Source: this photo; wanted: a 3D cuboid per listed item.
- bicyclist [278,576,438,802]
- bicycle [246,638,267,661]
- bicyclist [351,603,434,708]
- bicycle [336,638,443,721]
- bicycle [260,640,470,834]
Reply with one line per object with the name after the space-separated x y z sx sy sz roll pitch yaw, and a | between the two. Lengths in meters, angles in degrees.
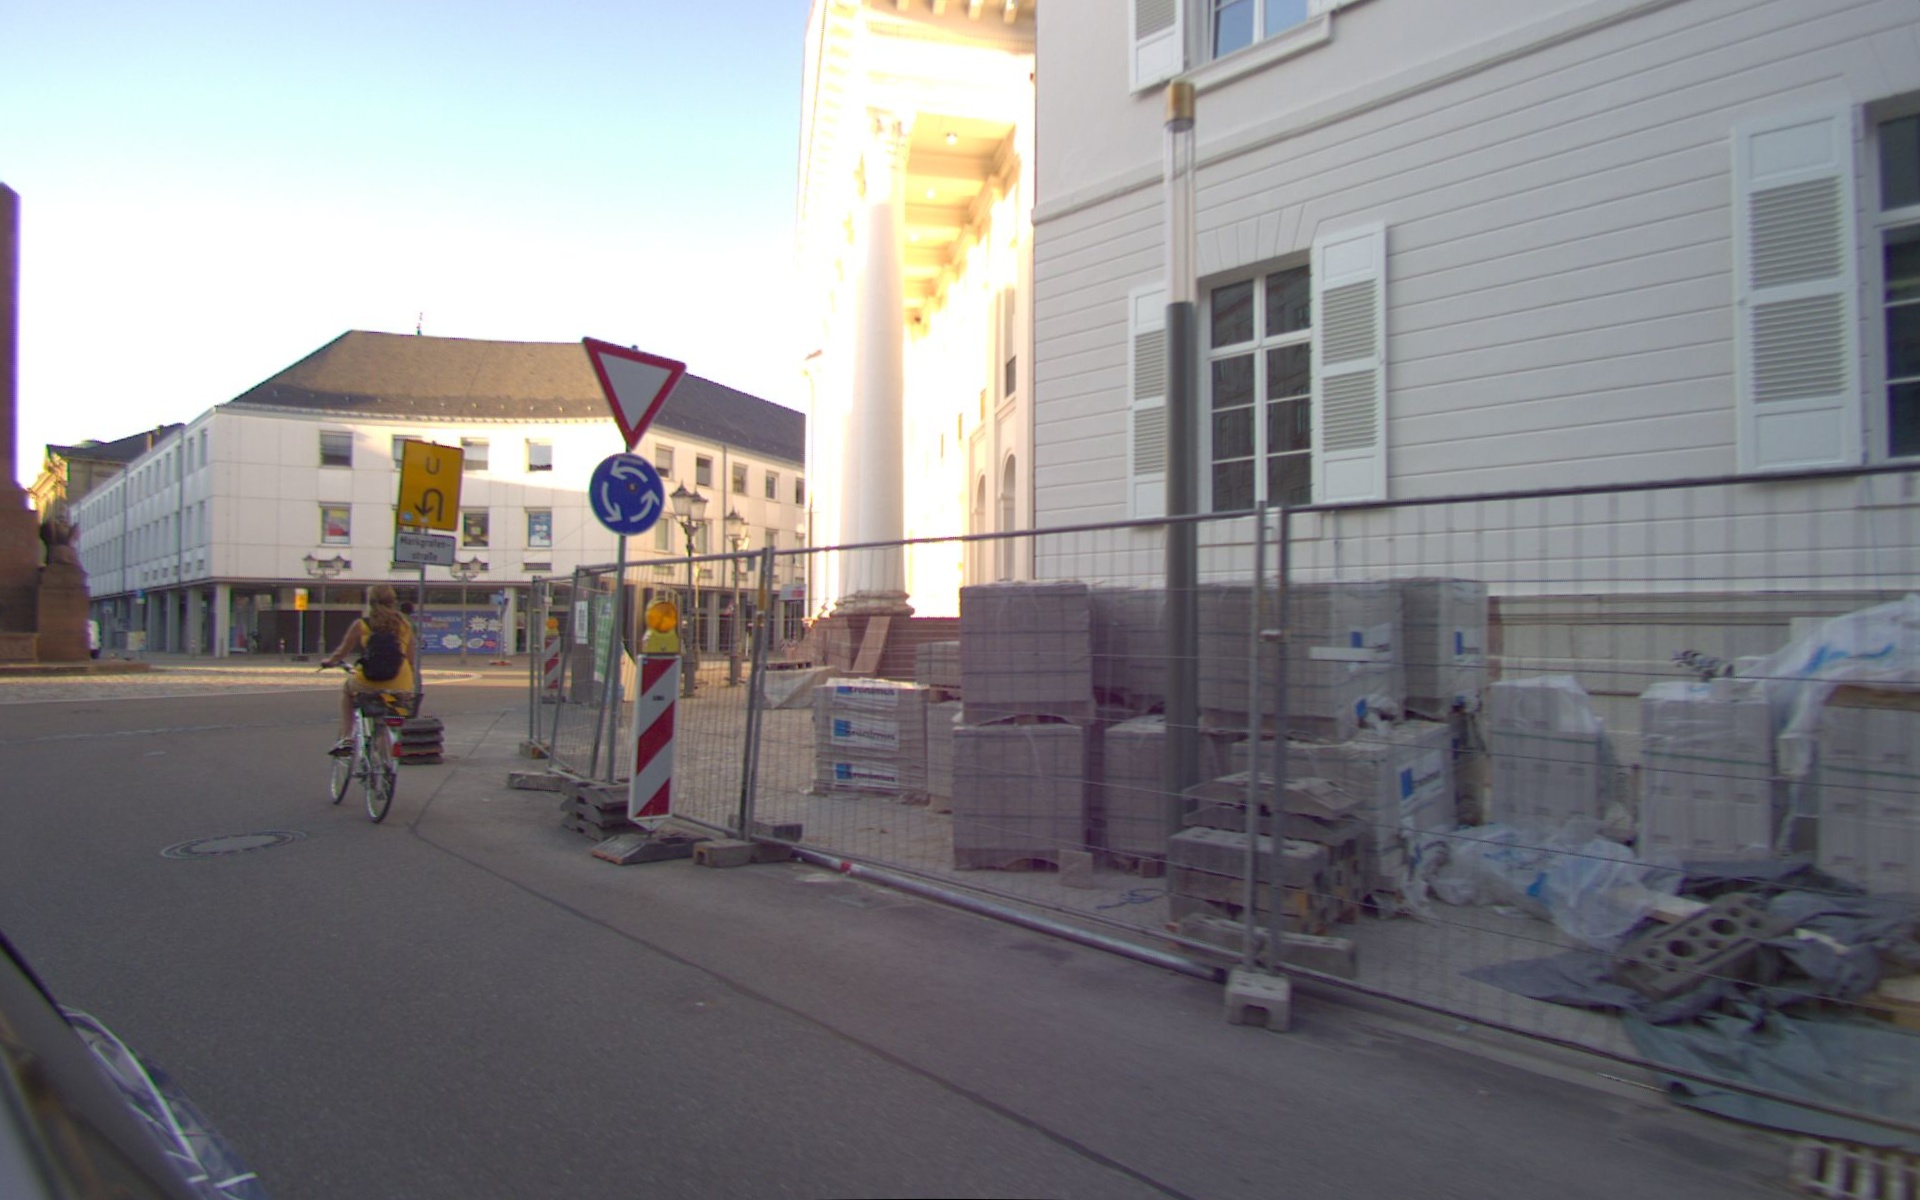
-4.488 0.625 7.544 0.974 1.544 0.787 -2 -3 44 | bicyclist
-36.026 2.532 51.821 1.949 1.164 0.474 -2 -3 43 | bicycle
-9.132 0.880 16.332 0.786 1.615 1.233 0 -2 -10 | bicyclist
-9.135 1.231 16.325 0.786 1.226 2.238 0 -2 -10 | bicycle
-4.497 0.922 7.566 2.234 1.226 0.787 -2 -3 44 | bicycle
